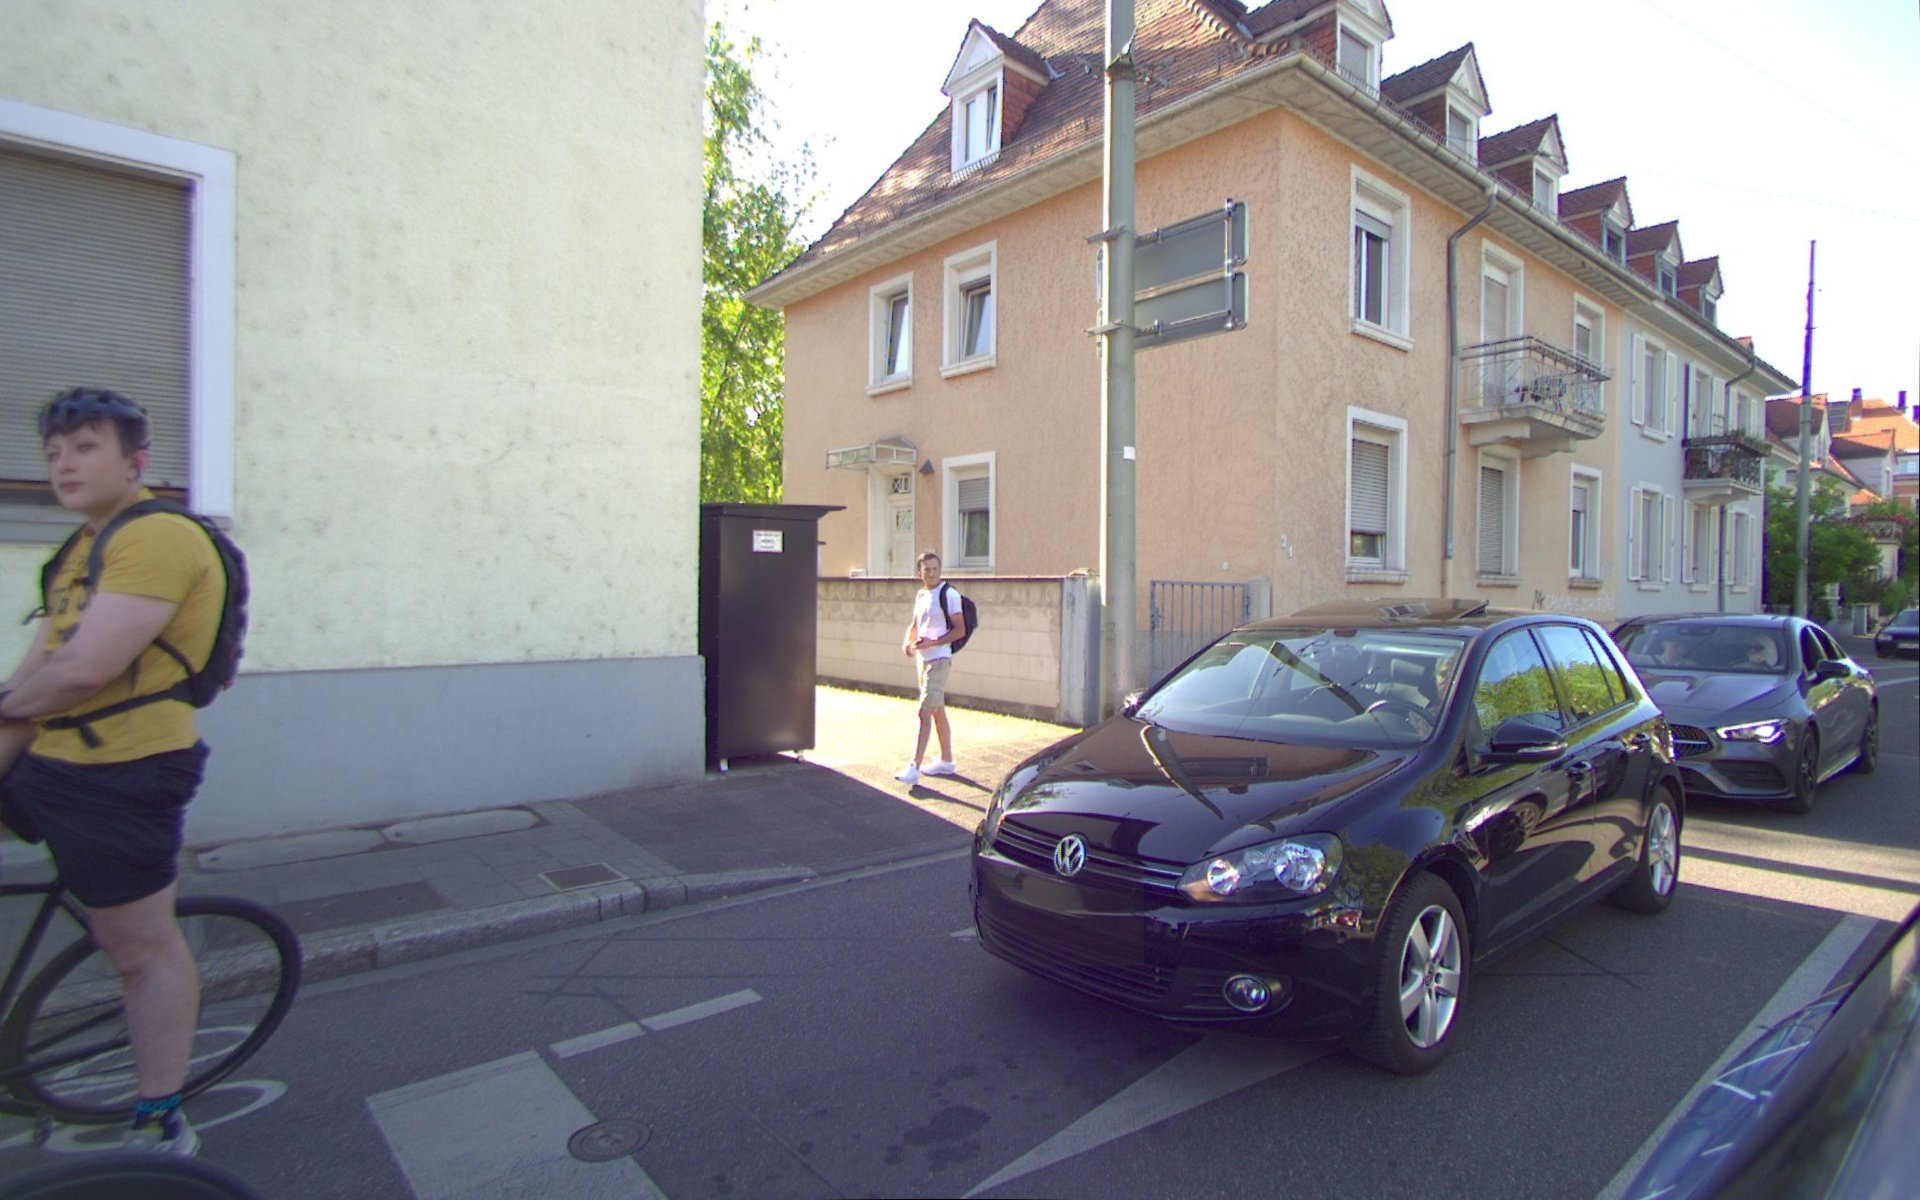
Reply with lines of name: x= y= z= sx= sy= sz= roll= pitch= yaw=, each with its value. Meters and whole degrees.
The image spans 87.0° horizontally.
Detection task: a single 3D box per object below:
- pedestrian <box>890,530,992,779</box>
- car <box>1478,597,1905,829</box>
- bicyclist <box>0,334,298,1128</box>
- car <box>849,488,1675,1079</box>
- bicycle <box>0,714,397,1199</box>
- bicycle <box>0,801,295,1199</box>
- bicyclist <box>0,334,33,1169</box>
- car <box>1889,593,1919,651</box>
pedestrian: x=-0.135 y=0.372 z=7.667 sx=0.577 sy=1.776 sz=0.641 roll=4 pitch=4 yaw=11
car: x=6.353 y=0.708 z=8.592 sx=4.413 sy=1.437 sz=1.911 roll=-1 pitch=0 yaw=-40
bicyclist: x=-2.221 y=0.274 z=2.524 sx=0.868 sy=1.684 sz=0.807 roll=0 pitch=0 yaw=-40
car: x=1.641 y=0.517 z=4.594 sx=3.979 sy=1.527 sz=1.731 roll=2 pitch=-1 yaw=-41
bicycle: x=-2.384 y=0.897 z=2.382 sx=1.749 sy=1.044 sz=0.756 roll=-1 pitch=0 yaw=-40
bicycle: x=-1.635 y=0.901 z=0.871 sx=0.625 sy=1.099 sz=1.678 roll=0 pitch=0 yaw=40
bicyclist: x=-1.553 y=0.457 z=0.969 sx=0.638 sy=1.513 sz=0.870 roll=0 pitch=-1 yaw=40
car: x=26.722 y=0.571 z=27.419 sx=3.930 sy=1.476 sz=1.839 roll=-1 pitch=0 yaw=-41
